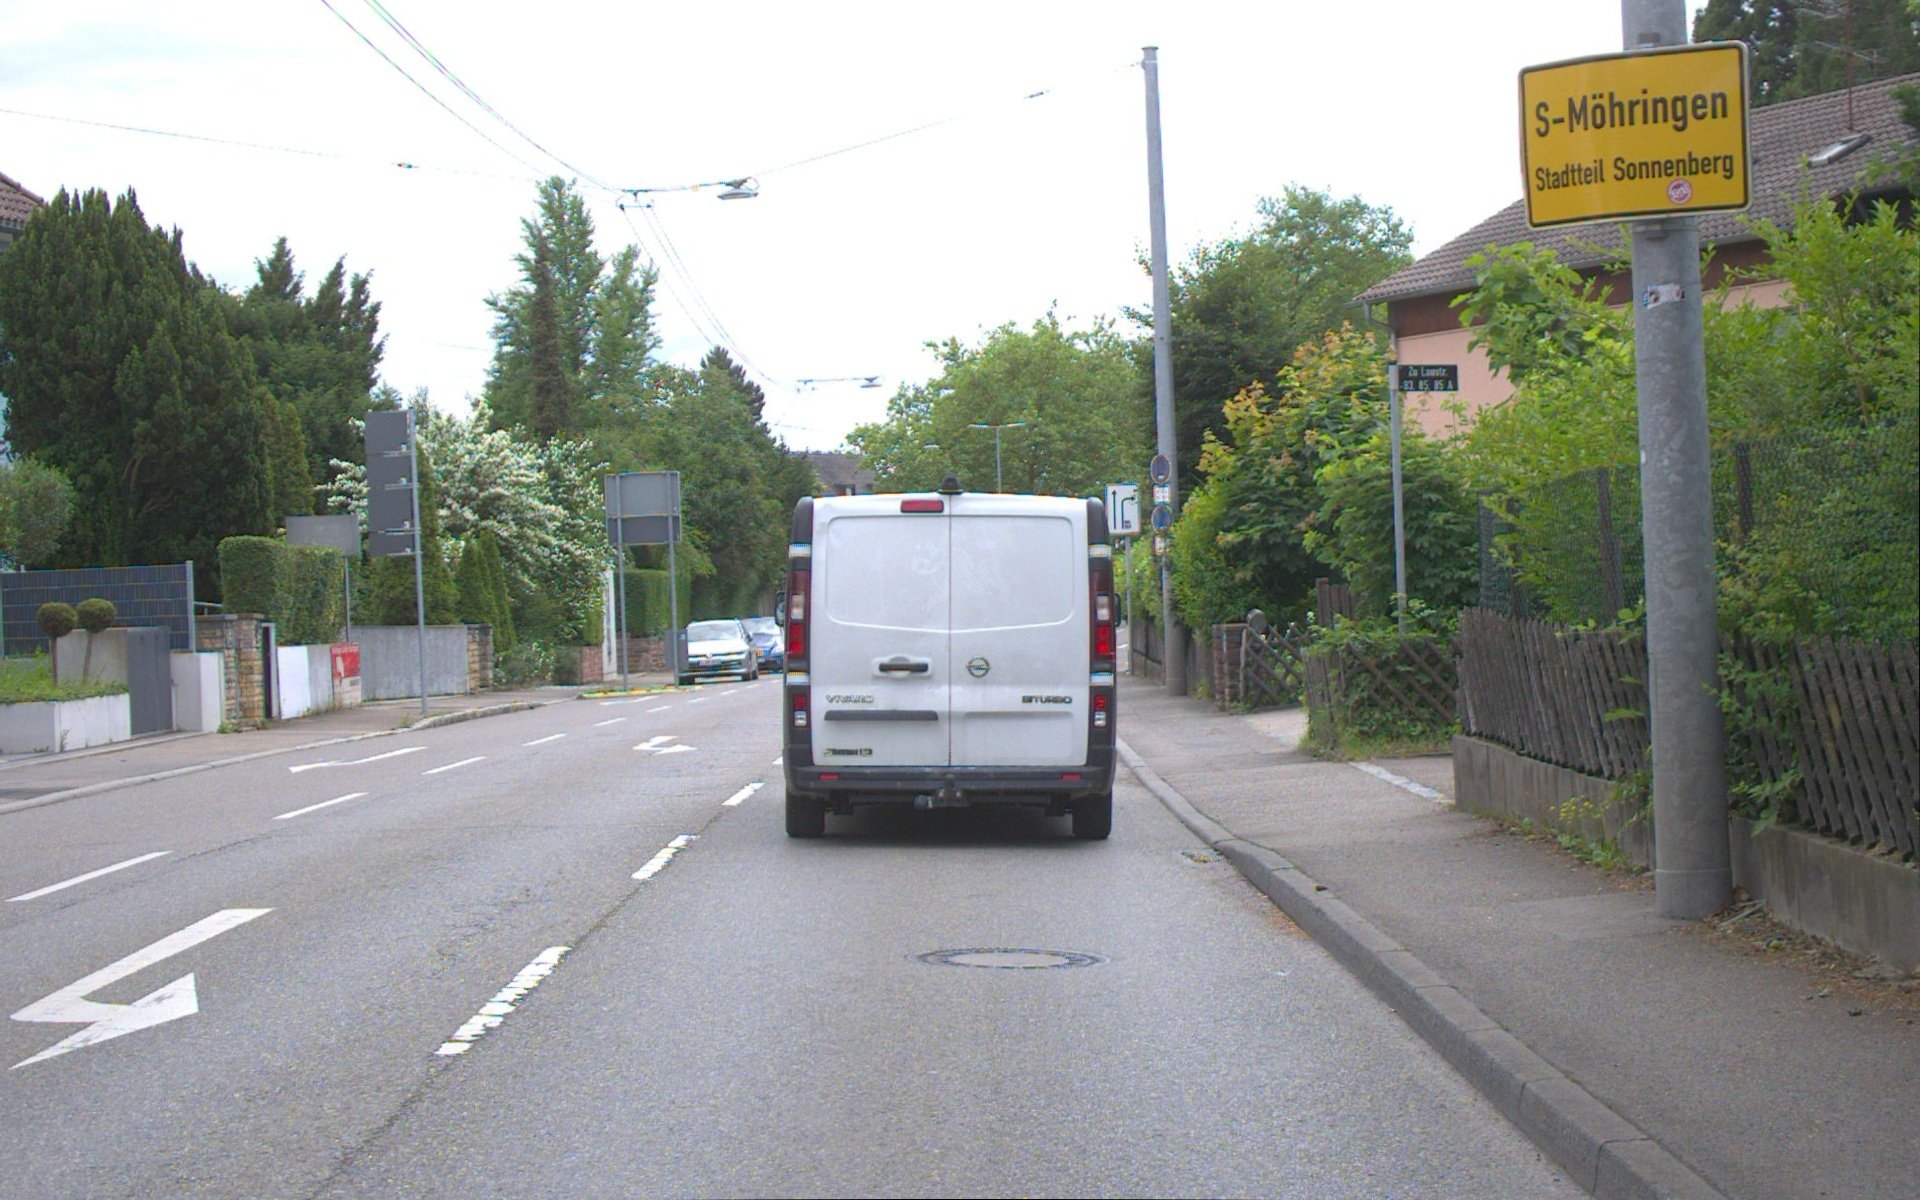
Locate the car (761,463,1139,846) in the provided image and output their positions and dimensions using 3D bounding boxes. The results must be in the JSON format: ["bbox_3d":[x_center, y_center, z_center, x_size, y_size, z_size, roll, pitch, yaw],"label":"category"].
[{"bbox_3d":[-0.062,0.287,20.882,2.006,2.031,5.010,0,0,0],"label":"car"}]

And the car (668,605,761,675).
[{"bbox_3d":[-5.706,0.908,80.329,1.809,1.450,4.413,-4,0,-1],"label":"car"}]

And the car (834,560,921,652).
[{"bbox_3d":[-2.332,0.150,98.496,2.111,2.490,6.124,-2,0,1],"label":"car"}]

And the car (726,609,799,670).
[{"bbox_3d":[-5.434,1.093,95.064,1.678,1.551,3.971,-3,-1,1],"label":"car"}]
